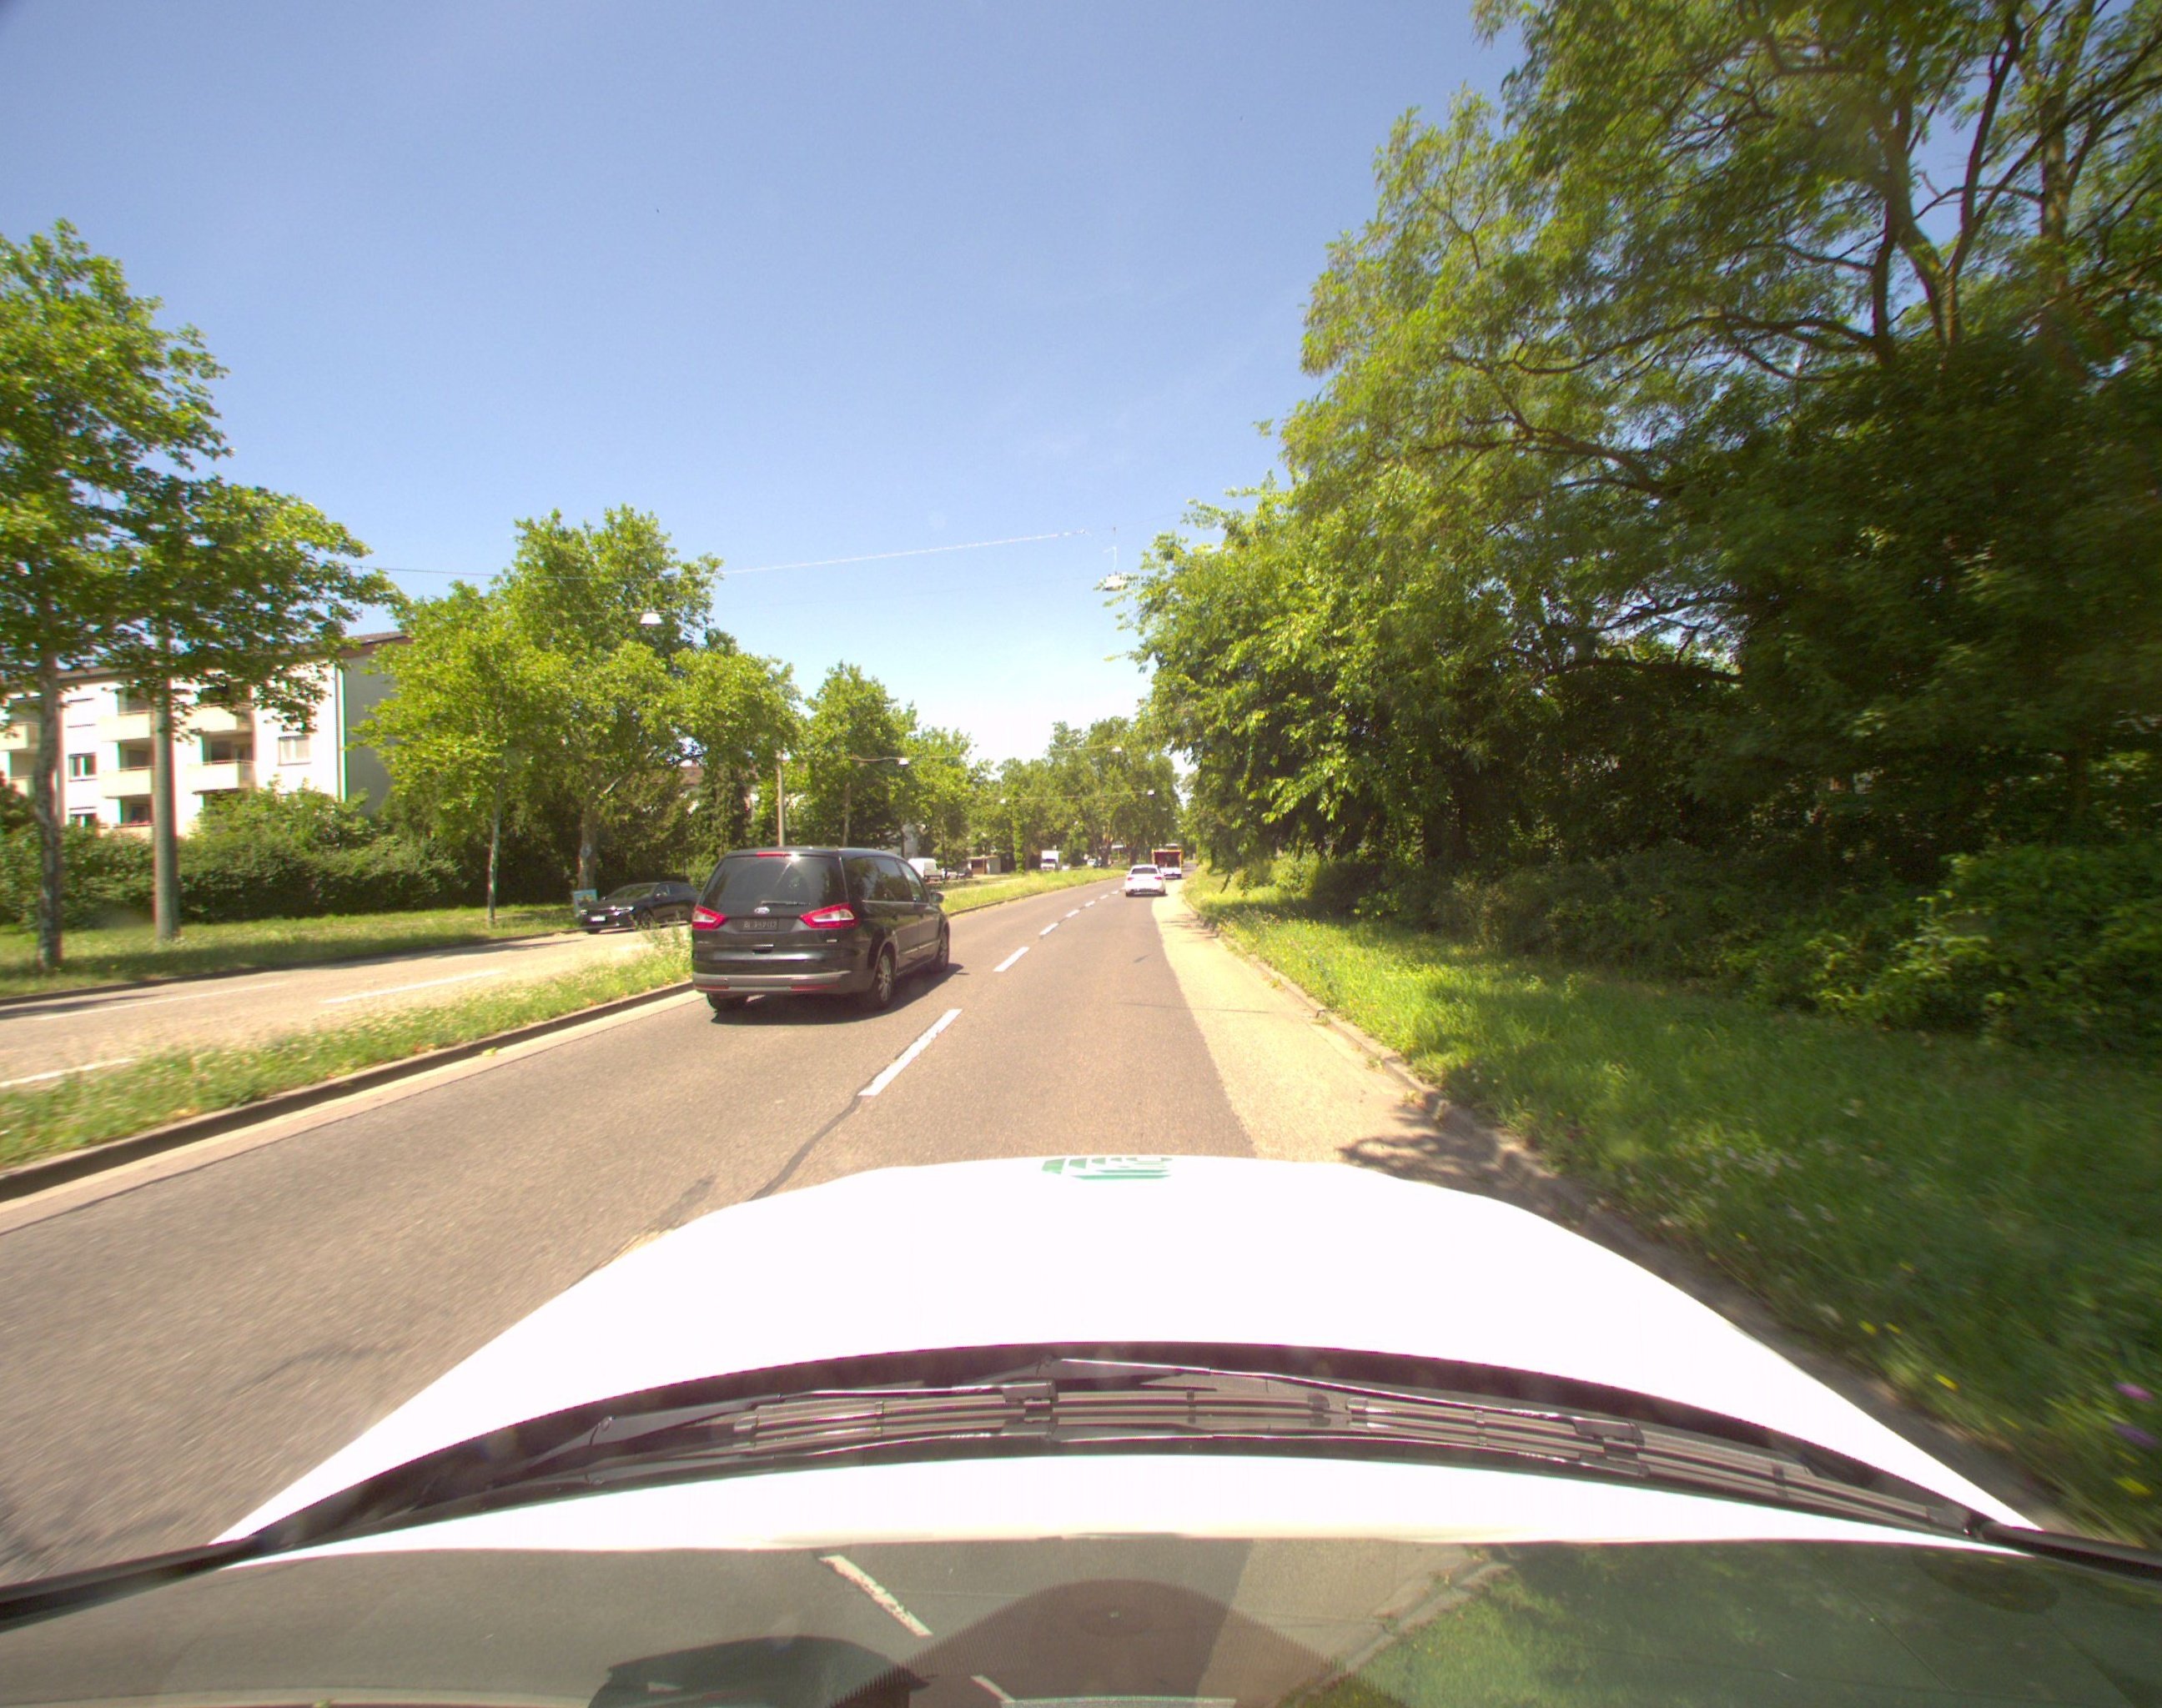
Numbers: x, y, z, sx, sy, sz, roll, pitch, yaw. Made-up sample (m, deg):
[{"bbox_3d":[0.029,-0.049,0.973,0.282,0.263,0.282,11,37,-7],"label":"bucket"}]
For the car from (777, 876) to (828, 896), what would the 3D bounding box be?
[{"bbox_3d":[-22.290,2.538,65.348,1.867,1.393,4.017,-2,-1,16],"label":"car"}]

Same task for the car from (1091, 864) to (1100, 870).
[{"bbox_3d":[3.057,2.689,169.715,1.766,1.332,3.659,-2,-1,0],"label":"car"}]

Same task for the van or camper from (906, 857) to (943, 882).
[{"bbox_3d":[-17.262,1.670,90.037,2.169,2.587,5.324,-3,-1,10],"label":"van or camper"}]

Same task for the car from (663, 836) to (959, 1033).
[{"bbox_3d":[-2.823,0.762,9.776,1.847,1.756,4.650,-1,-1,2],"label":"car"}]

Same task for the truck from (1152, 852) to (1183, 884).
[{"bbox_3d":[7.342,1.118,68.818,2.498,2.559,7.617,0,0,7],"label":"truck"}]

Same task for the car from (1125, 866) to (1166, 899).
[{"bbox_3d":[3.004,1.277,37.424,1.753,1.445,3.622,0,-1,7],"label":"car"}]

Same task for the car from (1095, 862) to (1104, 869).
[{"bbox_3d":[3.800,2.411,169.677,1.766,1.332,3.659,-2,-1,0],"label":"car"}]

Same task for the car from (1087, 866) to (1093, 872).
[{"bbox_3d":[2.038,3.505,187.304,1.455,1.210,3.426,-2,-1,0],"label":"car"}]

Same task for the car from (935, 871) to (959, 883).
[{"bbox_3d":[-15.853,2.721,96.453,1.683,1.284,3.812,-2,-1,9],"label":"car"}]

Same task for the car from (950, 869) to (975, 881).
[{"bbox_3d":[-14.813,2.650,102.038,1.816,1.391,3.961,-3,-1,13],"label":"car"}]

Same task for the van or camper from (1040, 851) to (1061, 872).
[{"bbox_3d":[-4.847,1.190,130.004,2.648,3.331,5.507,-2,-1,4],"label":"van or camper"}]

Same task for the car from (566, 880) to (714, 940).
[{"bbox_3d":[-13.547,1.678,25.404,1.804,1.507,4.599,-2,0,4],"label":"car"}]

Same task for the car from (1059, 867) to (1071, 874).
[{"bbox_3d":[-2.855,2.879,145.014,1.908,1.210,4.334,-2,-1,0],"label":"car"}]
